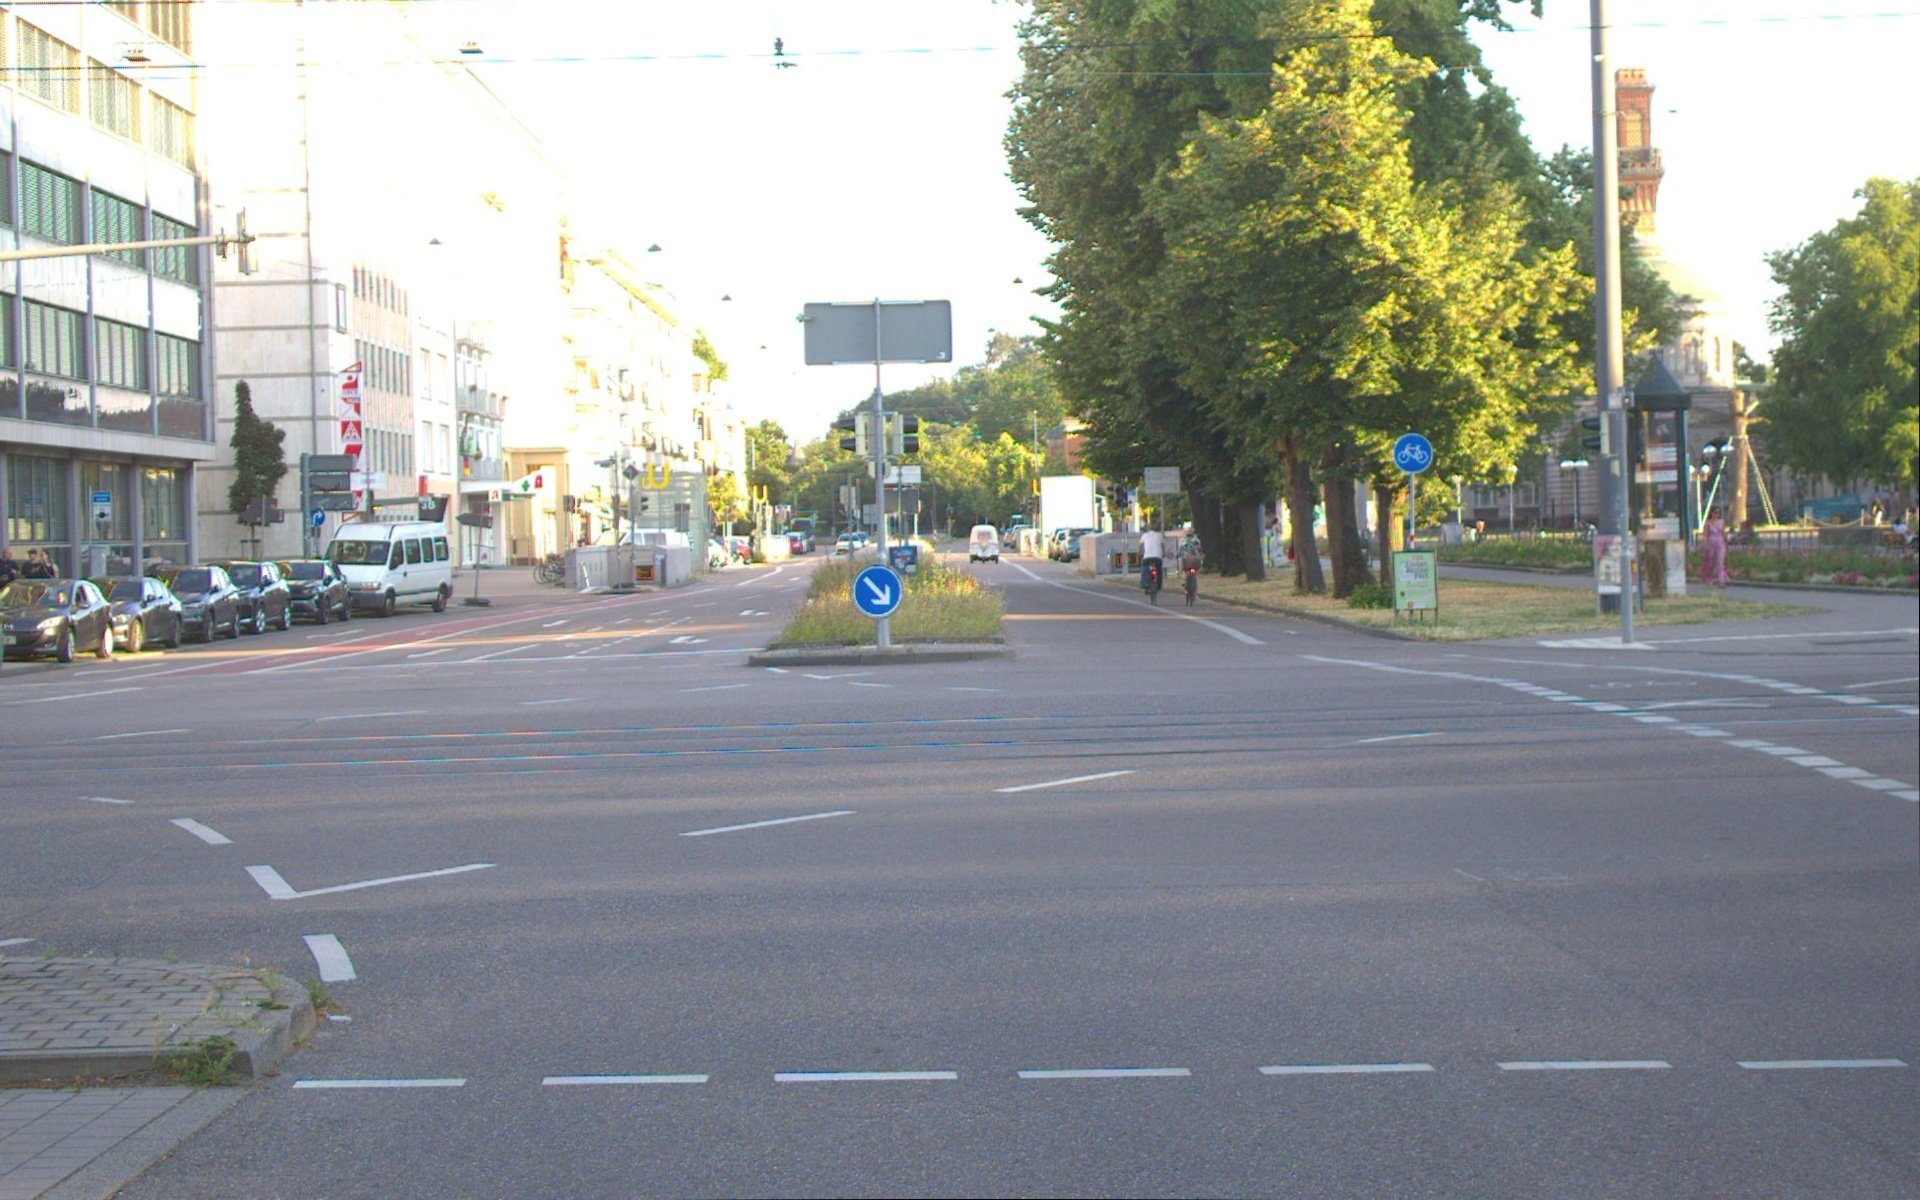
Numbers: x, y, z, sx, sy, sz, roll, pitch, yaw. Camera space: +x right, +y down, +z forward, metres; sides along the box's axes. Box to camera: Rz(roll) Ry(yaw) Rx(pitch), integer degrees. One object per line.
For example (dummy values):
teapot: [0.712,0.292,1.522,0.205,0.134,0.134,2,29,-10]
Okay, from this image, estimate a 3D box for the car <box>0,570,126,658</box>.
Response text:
car: [-16.487,0.237,61.938,1.920,1.459,4.103,-2,1,-1]

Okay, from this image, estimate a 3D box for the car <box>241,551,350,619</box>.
car: [-16.361,-0.378,84.776,1.920,1.563,4.000,-2,1,-1]

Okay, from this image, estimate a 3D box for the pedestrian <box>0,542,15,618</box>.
pedestrian: [-21.272,-0.435,76.074,0.551,1.673,0.500,-2,1,-1]

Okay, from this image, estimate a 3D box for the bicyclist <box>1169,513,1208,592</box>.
bicyclist: [4.986,-1.042,74.932,0.746,1.685,0.799,-2,1,-1]

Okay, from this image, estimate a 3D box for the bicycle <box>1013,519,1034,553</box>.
bicycle: [3.843,-3.867,208.148,1.002,2.007,4.000,-1,1,4]

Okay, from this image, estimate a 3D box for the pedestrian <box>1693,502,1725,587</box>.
pedestrian: [14.658,-1.090,67.276,0.460,1.651,0.567,-1,1,-1]

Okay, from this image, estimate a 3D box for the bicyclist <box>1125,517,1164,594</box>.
bicyclist: [4.025,-0.976,74.894,0.746,1.658,0.873,-2,1,-1]

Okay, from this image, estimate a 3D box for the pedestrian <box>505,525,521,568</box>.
pedestrian: [-21.416,-2.558,164.712,0.680,2.007,0.545,-2,1,0]

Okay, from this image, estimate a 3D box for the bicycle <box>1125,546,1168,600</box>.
bicycle: [4.058,-0.600,75.099,0.746,1.140,2.505,-2,1,-1]

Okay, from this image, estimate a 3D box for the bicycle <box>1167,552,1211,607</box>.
bicycle: [5.002,-0.460,75.136,0.746,1.140,2.505,-2,1,-1]

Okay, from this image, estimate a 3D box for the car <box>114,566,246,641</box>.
car: [-16.581,0.058,73.248,1.920,1.459,4.000,-2,1,-1]

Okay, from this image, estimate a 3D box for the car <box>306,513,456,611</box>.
car: [-15.302,-1.048,91.226,2.002,2.469,5.865,-1,1,10]

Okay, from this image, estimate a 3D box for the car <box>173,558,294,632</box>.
car: [-16.559,-0.145,78.550,1.920,1.563,4.000,-2,1,-1]

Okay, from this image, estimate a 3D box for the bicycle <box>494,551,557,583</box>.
bicycle: [-15.846,-1.215,125.504,2.205,1.108,0.619,-2,1,-2]

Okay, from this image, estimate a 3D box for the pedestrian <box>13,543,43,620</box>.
pedestrian: [-20.693,-0.411,76.340,0.500,1.673,0.500,-2,1,-1]

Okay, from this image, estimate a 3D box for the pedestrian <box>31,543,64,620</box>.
pedestrian: [-20.113,-0.409,75.789,0.551,1.673,0.500,-2,1,-1]

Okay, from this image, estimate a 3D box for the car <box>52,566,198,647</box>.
car: [-16.577,0.107,68.434,1.920,1.459,4.000,-2,1,-1]

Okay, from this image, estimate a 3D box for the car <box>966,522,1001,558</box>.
car: [1.091,-2.796,160.070,1.408,1.636,4.000,-2,1,-2]

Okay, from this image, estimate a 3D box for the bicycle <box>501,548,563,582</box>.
bicycle: [-16.037,-1.317,128.877,2.205,1.232,0.839,-2,1,-2]

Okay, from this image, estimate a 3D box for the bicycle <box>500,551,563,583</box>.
bicycle: [-15.829,-1.226,127.008,2.205,1.108,0.689,-2,1,-2]
